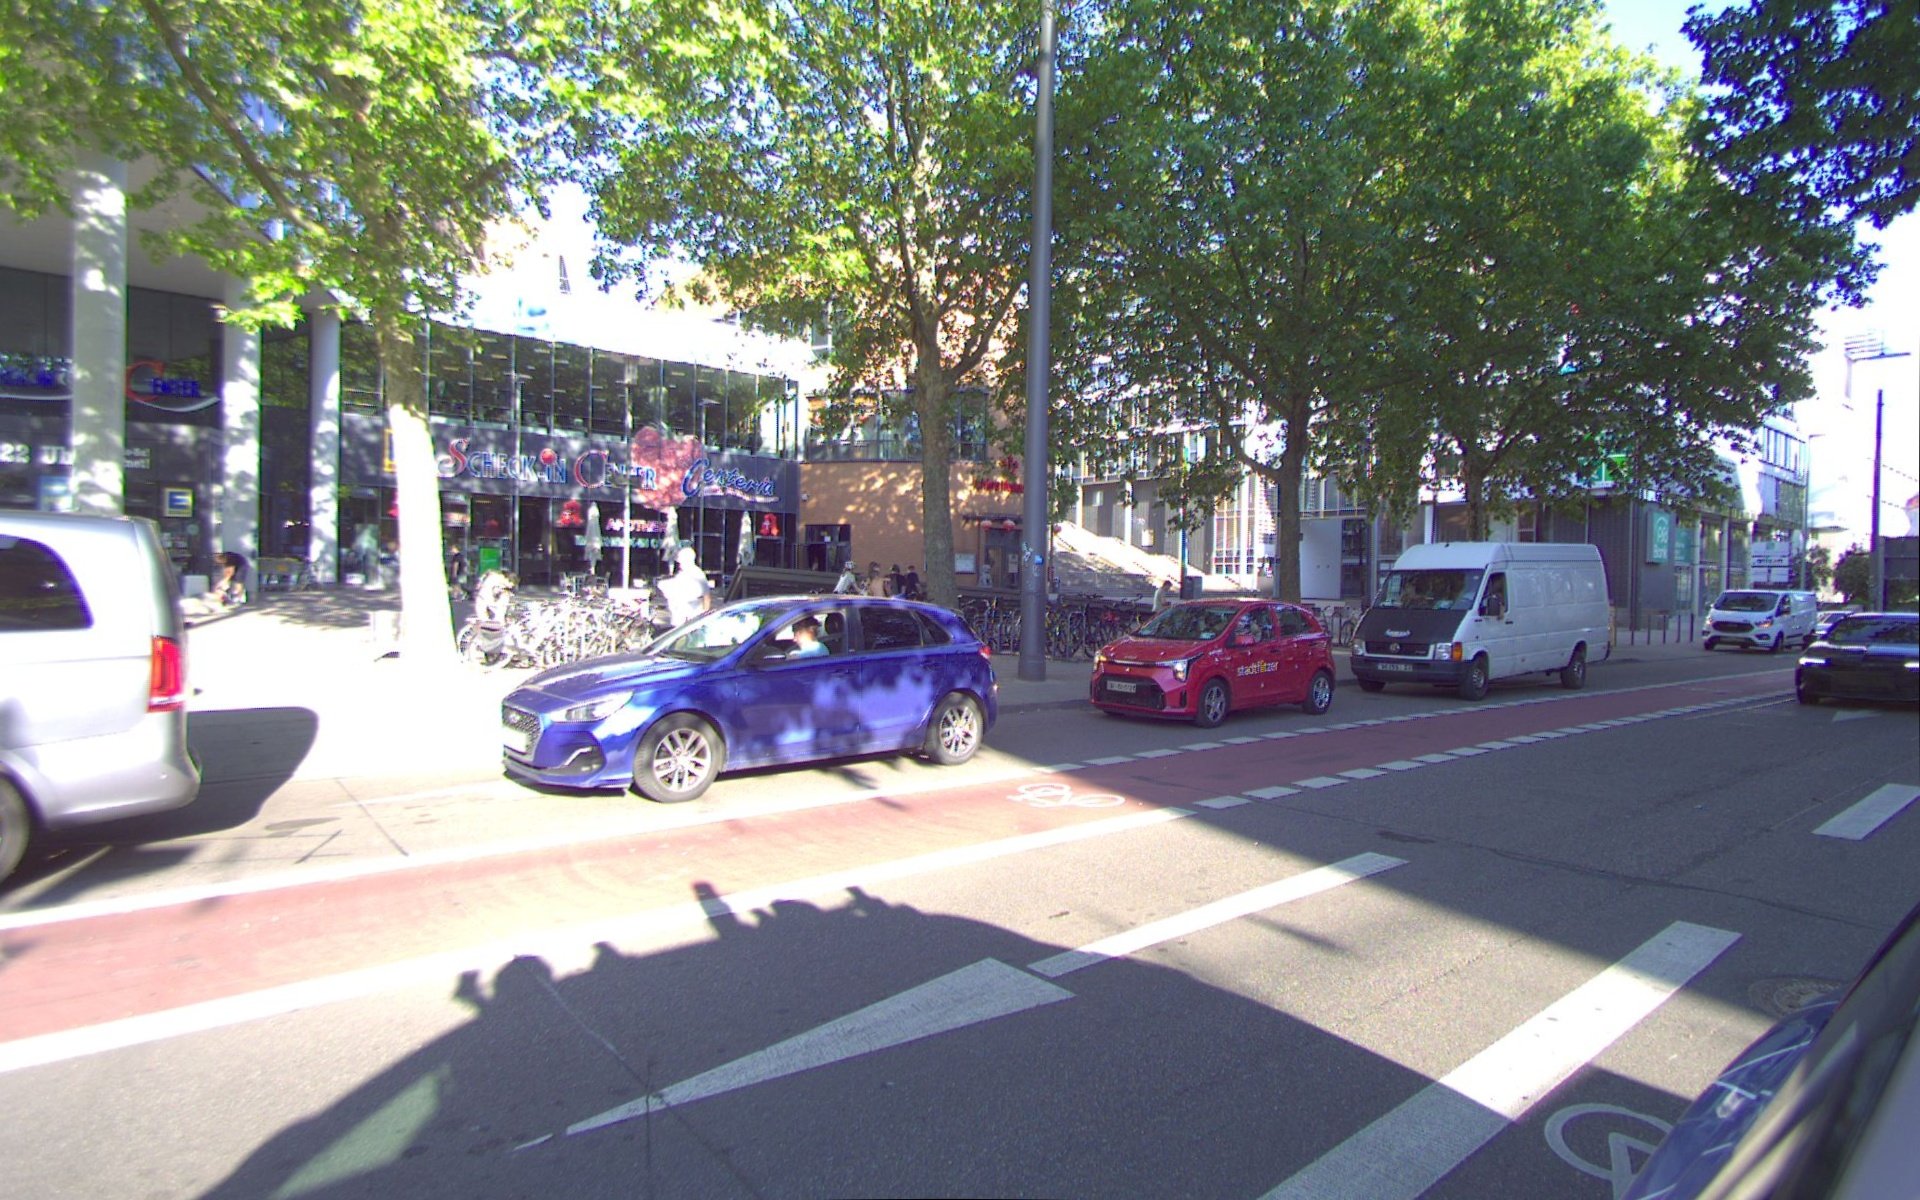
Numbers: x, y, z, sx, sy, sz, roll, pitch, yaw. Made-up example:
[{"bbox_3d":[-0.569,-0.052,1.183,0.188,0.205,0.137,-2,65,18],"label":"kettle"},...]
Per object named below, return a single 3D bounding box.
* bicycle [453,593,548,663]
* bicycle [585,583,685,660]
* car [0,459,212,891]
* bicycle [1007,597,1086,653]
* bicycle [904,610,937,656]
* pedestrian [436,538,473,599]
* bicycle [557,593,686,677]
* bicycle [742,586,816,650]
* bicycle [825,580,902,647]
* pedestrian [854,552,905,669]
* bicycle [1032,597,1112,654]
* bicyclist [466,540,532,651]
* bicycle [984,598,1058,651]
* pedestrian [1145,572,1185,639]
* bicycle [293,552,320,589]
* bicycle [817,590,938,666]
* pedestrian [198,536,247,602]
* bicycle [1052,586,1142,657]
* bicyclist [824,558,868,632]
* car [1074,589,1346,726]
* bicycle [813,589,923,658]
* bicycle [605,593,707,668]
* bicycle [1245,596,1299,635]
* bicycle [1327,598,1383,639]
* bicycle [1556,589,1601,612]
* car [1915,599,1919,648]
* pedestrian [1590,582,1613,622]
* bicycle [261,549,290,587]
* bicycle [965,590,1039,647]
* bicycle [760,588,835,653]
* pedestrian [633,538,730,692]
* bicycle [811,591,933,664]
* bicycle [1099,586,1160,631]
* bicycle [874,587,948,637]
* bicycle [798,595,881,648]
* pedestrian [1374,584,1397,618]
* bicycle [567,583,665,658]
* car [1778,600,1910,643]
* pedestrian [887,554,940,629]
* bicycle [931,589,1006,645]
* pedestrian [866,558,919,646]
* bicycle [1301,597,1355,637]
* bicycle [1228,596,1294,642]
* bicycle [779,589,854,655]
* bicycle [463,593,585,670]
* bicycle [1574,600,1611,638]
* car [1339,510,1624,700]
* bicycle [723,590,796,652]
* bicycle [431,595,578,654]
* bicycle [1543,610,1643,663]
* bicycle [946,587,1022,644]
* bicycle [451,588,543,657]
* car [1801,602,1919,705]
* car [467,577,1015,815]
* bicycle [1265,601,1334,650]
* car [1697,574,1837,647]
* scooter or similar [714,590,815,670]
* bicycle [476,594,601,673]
[{"bbox_3d":[-7.017,0.422,15.488,1.293,1.038,0.397,1,1,-24],"label":"bicycle"},{"bbox_3d":[-5.126,0.322,16.024,1.451,1.174,0.421,0,1,-42],"label":"bicycle"},{"bbox_3d":[-6.379,0.341,4.289,5.047,1.991,1.997,0,0,-41],"label":"car"},{"bbox_3d":[1.736,0.478,20.218,1.626,1.044,0.596,0,1,-41],"label":"bicycle"},{"bbox_3d":[-0.735,0.588,18.416,0.391,0.770,1.114,1,1,-13],"label":"bicycle"},{"bbox_3d":[-15.814,-0.980,31.686,0.834,1.867,1.002,1,1,-15],"label":"pedestrian"},{"bbox_3d":[-4.606,0.451,13.802,1.542,1.070,0.630,0,1,-35],"label":"bicycle"},{"bbox_3d":[-3.493,0.332,19.599,0.420,1.174,1.455,2,1,41],"label":"bicycle"},{"bbox_3d":[-1.742,0.228,18.451,0.478,1.174,1.455,2,1,41],"label":"bicycle"},{"bbox_3d":[-1.291,0.153,16.136,0.644,1.808,0.810,1,1,-14],"label":"pedestrian"},{"bbox_3d":[2.197,0.472,19.705,1.626,1.044,0.596,0,1,-41],"label":"bicycle"},{"bbox_3d":[-7.637,-0.084,16.796,0.834,1.789,0.754,1,1,-13],"label":"bicyclist"},{"bbox_3d":[1.264,0.485,20.792,1.626,1.044,0.503,0,1,-41],"label":"bicycle"},{"bbox_3d":[5.188,0.135,25.579,0.623,1.651,0.719,1,1,-34],"label":"pedestrian"},{"bbox_3d":[-20.862,-0.956,32.315,0.705,1.142,1.921,1,1,-32],"label":"bicycle"},{"bbox_3d":[-1.297,0.436,15.834,1.788,1.130,0.598,1,1,-13],"label":"bicycle"},{"bbox_3d":[-18.954,-0.791,26.022,0.951,1.661,0.865,0,1,-41],"label":"pedestrian"},{"bbox_3d":[2.617,0.392,19.191,1.843,1.280,0.596,0,1,-41],"label":"bicycle"},{"bbox_3d":[-2.572,-0.123,22.781,0.805,1.636,0.564,1,1,-30],"label":"bicyclist"},{"bbox_3d":[3.221,0.614,12.719,3.558,1.482,1.561,0,1,-41],"label":"car"},{"bbox_3d":[-1.583,0.398,17.281,1.788,1.130,0.598,1,1,-13],"label":"bicycle"},{"bbox_3d":[-4.626,0.442,15.464,1.451,1.095,0.421,0,1,-42],"label":"bicycle"},{"bbox_3d":[8.844,0.416,28.674,1.624,1.060,0.597,0,1,-37],"label":"bicycle"},{"bbox_3d":[10.569,0.490,27.068,1.624,1.060,0.597,0,1,-37],"label":"bicycle"},{"bbox_3d":[32.253,0.015,52.797,0.687,1.076,1.879,0,2,-38],"label":"bicycle"},{"bbox_3d":[30.859,0.743,30.915,3.794,1.482,1.673,0,2,-34],"label":"car"},{"bbox_3d":[27.944,0.087,44.097,0.530,1.697,0.722,1,1,4],"label":"pedestrian"},{"bbox_3d":[-21.491,-1.013,31.801,0.705,1.142,1.921,1,1,-32],"label":"bicycle"},{"bbox_3d":[0.891,0.370,21.247,1.626,1.151,0.503,0,1,-41],"label":"bicycle"},{"bbox_3d":[-3.050,0.367,19.117,0.420,1.174,1.455,2,1,41],"label":"bicycle"},{"bbox_3d":[-3.427,0.156,12.454,0.872,1.808,0.796,2,1,44],"label":"pedestrian"},{"bbox_3d":[-1.443,0.448,16.510,1.908,1.130,0.598,1,1,-13],"label":"bicycle"},{"bbox_3d":[4.529,0.226,27.003,1.622,1.140,0.598,0,1,-32],"label":"bicycle"},{"bbox_3d":[-1.193,0.278,24.843,1.736,1.174,0.578,0,1,-35],"label":"bicycle"},{"bbox_3d":[-2.702,0.473,22.718,1.743,1.140,0.568,0,1,-31],"label":"bicycle"},{"bbox_3d":[18.811,0.050,44.722,0.589,1.474,0.713,1,1,-37],"label":"pedestrian"},{"bbox_3d":[-5.611,0.321,16.558,1.450,1.174,0.421,0,1,-40],"label":"bicycle"},{"bbox_3d":[31.545,0.763,36.135,3.937,1.437,1.791,1,1,-19],"label":"car"},{"bbox_3d":[-1.150,-0.214,24.870,1.000,1.779,0.789,1,1,-35],"label":"pedestrian"},{"bbox_3d":[0.192,0.364,21.991,1.662,1.174,0.479,0,1,-37],"label":"bicycle"},{"bbox_3d":[-1.416,0.027,21.054,0.756,1.779,0.820,1,1,-35],"label":"pedestrian"},{"bbox_3d":[10.147,0.454,27.916,1.624,1.060,0.597,0,1,-37],"label":"bicycle"},{"bbox_3d":[7.282,0.442,24.488,1.622,1.060,0.598,0,1,-32],"label":"bicycle"},{"bbox_3d":[-2.656,0.390,18.808,0.420,1.174,1.455,2,1,41],"label":"bicycle"},{"bbox_3d":[-6.284,0.431,14.626,1.546,1.038,0.461,0,1,-44],"label":"bicycle"},{"bbox_3d":[20.557,0.610,32.886,1.511,1.173,0.514,0,1,-39],"label":"bicycle"},{"bbox_3d":[9.212,0.064,17.524,6.443,2.759,1.998,0,0,-39],"label":"car"},{"bbox_3d":[-3.930,0.389,19.939,0.420,1.174,1.455,2,1,41],"label":"bicycle"},{"bbox_3d":[-7.537,0.404,16.829,2.138,0.945,0.669,1,1,-13],"label":"bicycle"},{"bbox_3d":[14.389,0.830,23.021,2.082,1.135,0.552,1,1,-11],"label":"bicycle"},{"bbox_3d":[0.522,0.317,21.569,1.662,1.174,0.479,0,1,-37],"label":"bicycle"},{"bbox_3d":[-7.264,0.352,15.914,1.293,1.038,0.397,1,1,-24],"label":"bicycle"},{"bbox_3d":[14.892,0.753,15.905,4.268,1.443,1.826,0,0,-40],"label":"car"},{"bbox_3d":[-1.654,0.594,8.466,4.143,1.482,1.768,0,2,-41],"label":"car"},{"bbox_3d":[7.850,0.578,23.370,1.622,1.060,0.598,0,1,-32],"label":"bicycle"},{"bbox_3d":[26.143,0.292,32.740,5.189,2.160,2.130,0,1,-35],"label":"car"},{"bbox_3d":[-3.012,0.452,15.593,1.249,1.156,0.905,-2,0,37],"label":"scooter or similar"},{"bbox_3d":[-5.904,0.442,14.227,1.546,1.038,0.461,0,1,-44],"label":"bicycle"}]
